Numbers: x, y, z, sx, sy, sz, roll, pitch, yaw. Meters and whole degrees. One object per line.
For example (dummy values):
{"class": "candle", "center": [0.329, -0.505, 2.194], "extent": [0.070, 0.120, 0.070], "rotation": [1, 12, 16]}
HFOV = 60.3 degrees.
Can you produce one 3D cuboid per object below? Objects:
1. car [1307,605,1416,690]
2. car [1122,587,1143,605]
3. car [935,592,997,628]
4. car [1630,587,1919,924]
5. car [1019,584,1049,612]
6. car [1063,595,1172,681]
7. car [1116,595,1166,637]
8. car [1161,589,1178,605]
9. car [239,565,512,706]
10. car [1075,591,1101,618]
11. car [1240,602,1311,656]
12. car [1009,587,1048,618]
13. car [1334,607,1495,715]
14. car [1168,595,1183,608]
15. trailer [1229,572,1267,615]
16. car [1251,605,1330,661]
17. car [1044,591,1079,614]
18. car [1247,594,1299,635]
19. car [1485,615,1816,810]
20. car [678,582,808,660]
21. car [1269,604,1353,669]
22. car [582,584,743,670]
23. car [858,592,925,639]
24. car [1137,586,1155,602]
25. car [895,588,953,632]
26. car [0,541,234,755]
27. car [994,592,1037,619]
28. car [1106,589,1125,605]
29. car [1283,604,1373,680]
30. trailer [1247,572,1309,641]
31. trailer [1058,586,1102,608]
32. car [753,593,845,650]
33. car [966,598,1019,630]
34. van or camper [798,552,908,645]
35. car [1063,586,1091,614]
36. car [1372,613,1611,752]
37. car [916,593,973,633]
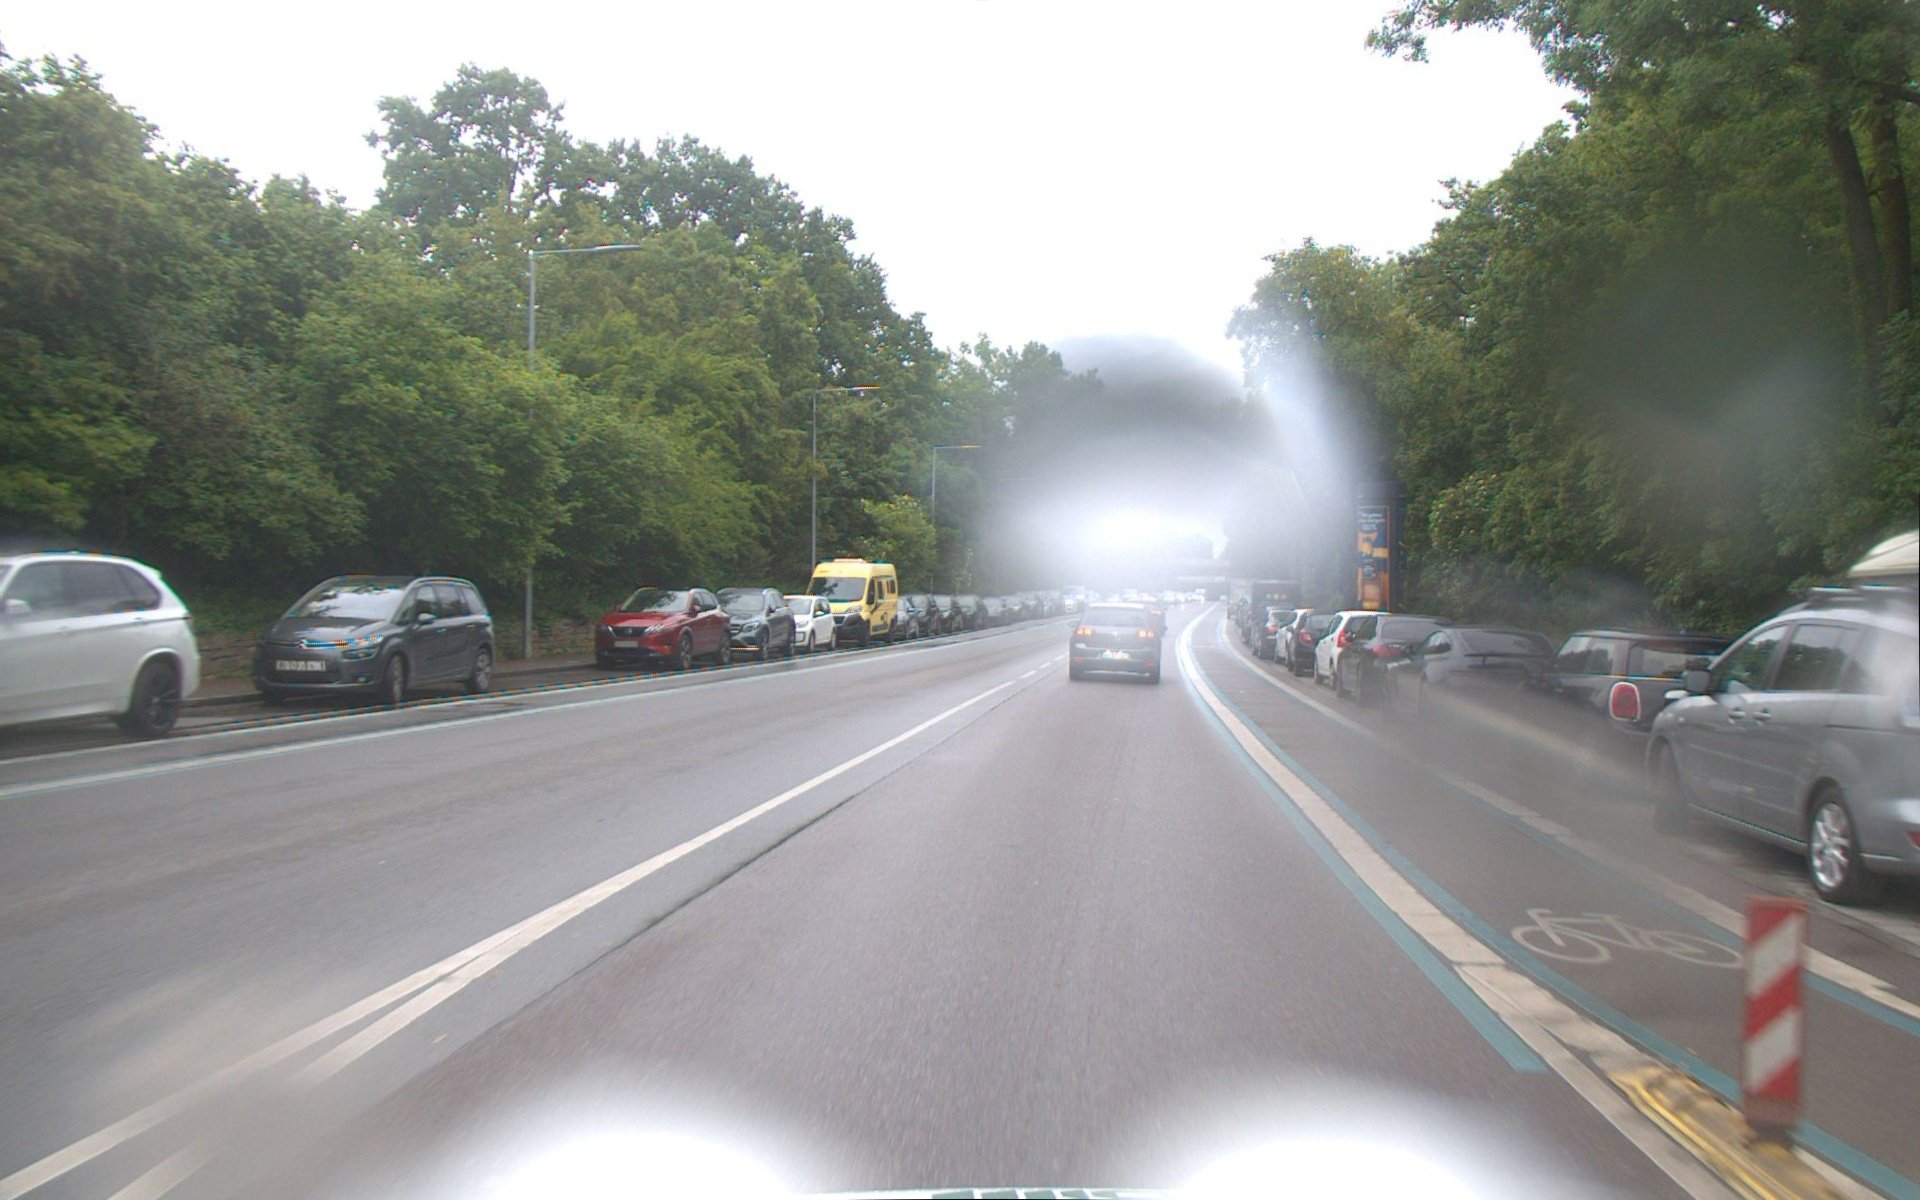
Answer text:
{"class": "car", "center": [7.789, 0.884, 32.341], "extent": [1.527, 1.485, 3.678], "rotation": [2, 0, 6]}
{"class": "car", "center": [20.143, -0.454, 193.172], "extent": [2.112, 2.049, 5.035], "rotation": [1, 1, 10]}
{"class": "car", "center": [0.307, 0.406, 71.095], "extent": [1.951, 1.477, 4.142], "rotation": [1, 1, 10]}
{"class": "car", "center": [5.744, 0.785, 10.129], "extent": [1.784, 1.643, 4.254], "rotation": [2, 0, 4]}
{"class": "car", "center": [4.256, -0.120, 94.808], "extent": [1.429, 1.598, 2.987], "rotation": [1, 1, 8]}
{"class": "car", "center": [2.995, 0.720, 32.181], "extent": [1.832, 1.466, 4.297], "rotation": [3, -1, 3]}
{"class": "car", "center": [7.141, 0.603, 65.295], "extent": [1.841, 1.491, 4.003], "rotation": [3, 1, 6]}
{"class": "car", "center": [23.846, -0.336, 188.218], "extent": [1.783, 1.735, 3.860], "rotation": [2, 0, 9]}
{"class": "car", "center": [-7.818, 0.424, 22.640], "extent": [1.694, 1.677, 4.574], "rotation": [2, 0, 6]}
{"class": "car", "center": [10.434, 0.353, 134.978], "extent": [1.899, 2.049, 4.743], "rotation": [1, 1, 6]}
{"class": "car", "center": [10.011, 0.883, 52.683], "extent": [1.784, 1.511, 4.203], "rotation": [3, 1, 6]}
{"class": "car", "center": [3.756, 0.107, 90.330], "extent": [1.660, 1.611, 4.142], "rotation": [1, 1, 9]}
{"class": "car", "center": [7.253, 0.908, 26.846], "extent": [1.817, 1.480, 4.754], "rotation": [2, 1, 7]}
{"class": "car", "center": [29.198, 0.217, 223.900], "extent": [1.783, 1.735, 3.860], "rotation": [2, 0, 9]}
{"class": "trailer", "center": [18.203, -0.423, 104.619], "extent": [2.086, 2.605, 4.300], "rotation": [1, 1, 7]}
{"class": "car", "center": [9.449, 0.915, 47.549], "extent": [1.715, 1.417, 4.449], "rotation": [3, 1, 6]}
{"class": "car", "center": [7.045, 0.144, 114.274], "extent": [1.951, 1.514, 4.472], "rotation": [1, 1, 9]}
{"class": "car", "center": [12.039, 0.522, 63.870], "extent": [1.757, 1.475, 4.432], "rotation": [1, 1, 8]}
{"class": "car", "center": [6.146, 0.916, 15.176], "extent": [1.661, 1.437, 3.705], "rotation": [3, 0, 4]}
{"class": "car", "center": [-5.125, 0.450, 39.642], "extent": [1.951, 1.730, 4.619], "rotation": [1, 1, 7]}
{"class": "car", "center": [9.055, 0.901, 42.885], "extent": [1.584, 1.492, 4.002], "rotation": [2, 0, 5]}
{"class": "car", "center": [-6.060, 0.503, 34.226], "extent": [1.878, 1.645, 4.493], "rotation": [0, 0, 9]}
{"class": "car", "center": [-2.301, 0.493, 56.222], "extent": [1.644, 1.524, 4.152], "rotation": [0, 0, 7]}
{"class": "car", "center": [24.497, -0.815, 217.725], "extent": [2.112, 2.049, 5.035], "rotation": [1, 1, 10]}
{"class": "car", "center": [-1.306, 0.356, 61.626], "extent": [1.568, 1.536, 3.141], "rotation": [1, 1, 10]}
{"class": "car", "center": [-8.876, 0.381, 14.854], "extent": [1.951, 1.796, 4.964], "rotation": [1, 0, 8]}
{"class": "car", "center": [2.890, 0.260, 85.340], "extent": [1.660, 1.323, 4.196], "rotation": [1, 1, 9]}
{"class": "car", "center": [15.907, -0.339, 168.982], "extent": [1.637, 1.540, 3.633], "rotation": [2, 1, 8]}
{"class": "car", "center": [8.323, 0.906, 37.658], "extent": [1.624, 1.490, 3.903], "rotation": [3, 1, 8]}
{"class": "trailer", "center": [11.216, 0.208, 58.538], "extent": [1.865, 2.287, 4.772], "rotation": [1, 1, 8]}
{"class": "trailer", "center": [9.427, -0.249, 129.472], "extent": [1.600, 1.657, 3.653], "rotation": [1, 1, 40]}
{"class": "car", "center": [-4.281, 0.549, 44.575], "extent": [1.583, 1.474, 3.660], "rotation": [0, 0, 9]}
{"class": "car", "center": [1.533, 0.615, 76.078], "extent": [1.830, 1.326, 4.474], "rotation": [1, 1, 8]}
{"class": "van or camper", "center": [-3.202, -0.068, 50.940], "extent": [2.098, 2.673, 5.687], "rotation": [1, 1, 10]}
{"class": "car", "center": [8.826, 0.003, 124.577], "extent": [1.899, 2.049, 4.743], "rotation": [1, 1, 6]}
{"class": "car", "center": [6.473, 0.932, 20.656], "extent": [1.814, 1.423, 4.388], "rotation": [3, 0, 4]}
{"class": "car", "center": [-0.605, 0.503, 66.936], "extent": [1.568, 1.536, 3.980], "rotation": [1, 1, 10]}
